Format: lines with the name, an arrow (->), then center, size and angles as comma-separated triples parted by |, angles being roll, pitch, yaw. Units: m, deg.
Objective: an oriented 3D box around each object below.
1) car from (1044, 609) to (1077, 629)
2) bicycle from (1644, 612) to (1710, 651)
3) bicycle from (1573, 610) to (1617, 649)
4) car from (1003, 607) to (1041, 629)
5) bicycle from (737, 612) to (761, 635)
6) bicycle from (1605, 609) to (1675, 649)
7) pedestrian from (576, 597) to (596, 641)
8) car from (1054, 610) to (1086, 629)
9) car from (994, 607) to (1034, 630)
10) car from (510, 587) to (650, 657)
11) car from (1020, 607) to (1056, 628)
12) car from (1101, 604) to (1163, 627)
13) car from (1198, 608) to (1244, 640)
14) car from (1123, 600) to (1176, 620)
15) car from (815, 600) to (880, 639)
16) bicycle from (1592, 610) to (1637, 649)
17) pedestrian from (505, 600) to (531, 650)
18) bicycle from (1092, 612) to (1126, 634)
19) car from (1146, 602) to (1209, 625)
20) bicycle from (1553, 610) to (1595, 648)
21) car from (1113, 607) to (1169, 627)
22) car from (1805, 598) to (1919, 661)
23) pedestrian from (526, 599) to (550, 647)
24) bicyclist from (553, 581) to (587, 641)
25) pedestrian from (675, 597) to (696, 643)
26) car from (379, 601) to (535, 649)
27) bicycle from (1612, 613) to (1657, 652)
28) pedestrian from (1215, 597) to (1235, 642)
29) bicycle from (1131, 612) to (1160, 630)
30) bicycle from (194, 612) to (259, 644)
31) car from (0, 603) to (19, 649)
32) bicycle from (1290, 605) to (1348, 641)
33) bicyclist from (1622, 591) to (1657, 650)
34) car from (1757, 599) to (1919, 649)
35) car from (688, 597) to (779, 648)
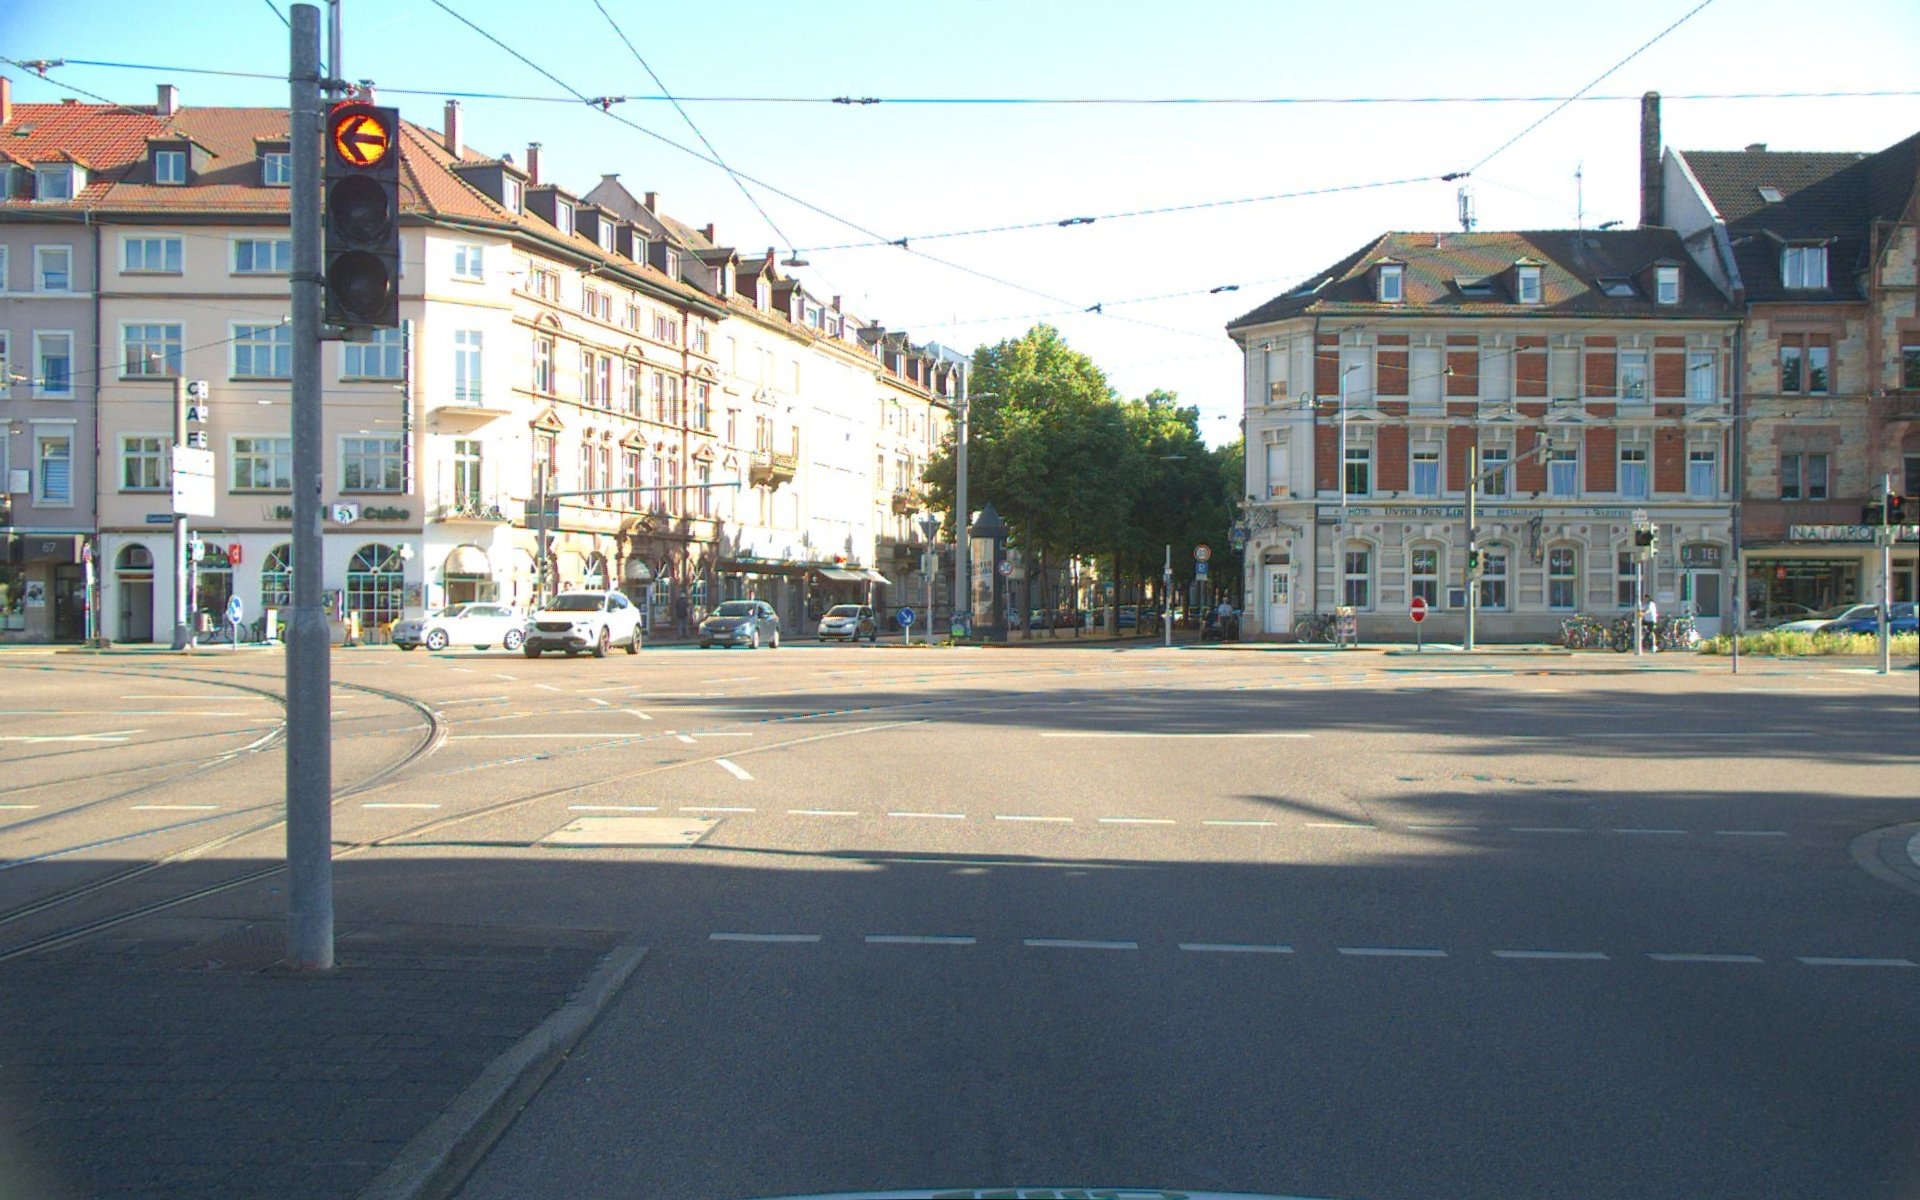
car -> 8.054, 1.493, 131.889 | 1.951, 1.523, 4.037 | 0, 0, 13
bicycle -> 23.038, 1.000, 53.118 | 1.926, 1.211, 0.677 | 0, 0, -13
bicycle -> 20.516, 0.953, 53.485 | 0.663, 1.211, 1.967 | 0, 0, 0
car -> 4.448, 1.259, 117.408 | 1.951, 1.523, 4.037 | 0, 0, 13
bicycle -> -10.136, 1.125, 79.381 | 0.484, 1.086, 1.771 | 0, 0, 15
bicycle -> 21.057, 0.902, 51.237 | 1.920, 1.211, 0.602 | 0, 0, 2
pedestrian -> -14.146, 0.708, 62.557 | 0.539, 1.670, 0.633 | 0, 0, 13
car -> 9.112, 1.607, 136.645 | 1.951, 1.523, 4.037 | 0, 0, 13
car -> 3.701, 1.227, 112.910 | 1.951, 1.523, 4.037 | 0, 0, 13
car -> -8.684, 0.471, 38.183 | 1.951, 1.523, 4.350 | 0, 0, 4
car -> 5.794, 1.307, 122.664 | 1.951, 1.523, 4.037 | 0, 0, 13
car -> 12.030, 1.106, 115.829 | 3.910, 1.572, 1.998 | 0, 0, 28
car -> 13.070, 1.160, 82.596 | 1.951, 1.523, 4.037 | 0, 0, 13
car -> 15.427, 0.792, 134.675 | 3.910, 1.572, 1.998 | 0, 0, 28
car -> -4.586, 0.785, 67.858 | 1.681, 1.523, 3.586 | 0, 0, 13
bicycle -> 21.155, 0.936, 53.496 | 0.663, 1.211, 1.967 | 0, 0, 0
pedestrian -> -14.909, 0.830, 55.816 | 0.661, 1.670, 0.579 | 0, 0, 13
bicycle -> 7.464, 1.157, 82.853 | 0.577, 1.086, 1.924 | 0, 0, -37
car -> 15.354, 0.947, 116.731 | 3.913, 1.572, 1.996 | 0, 0, 30
bicycle -> 19.828, 0.926, 53.449 | 0.663, 1.211, 1.967 | 0, 0, 0
car -> 14.068, 1.319, 128.498 | 3.910, 1.572, 1.998 | 0, 0, 28
car -> 25.910, 0.793, 45.948 | 3.906, 1.697, 1.954 | 0, 0, -2
pedestrian -> -14.531, 0.786, 56.966 | 0.617, 1.670, 0.553 | 0, 0, 13
bicyclist -> -10.480, 0.297, 44.468 | 0.706, 1.587, 0.978 | 0, 0, -26
pedestrian -> -11.683, 0.834, 70.489 | 0.667, 1.942, 0.633 | 0, 0, 15
car -> -15.145, 0.716, 50.003 | 1.960, 1.379, 4.205 | 0, 0, 36
bicycle -> 21.817, 1.027, 53.498 | 0.663, 1.211, 1.967 | 0, 0, 0
pedestrian -> 10.172, 0.742, 63.474 | 0.700, 1.698, 0.940 | 0, 0, 11
bicycle -> 11.161, 1.264, 99.400 | 0.577, 1.086, 1.924 | 0, 0, -37
bicycle -> -24.905, 0.942, 56.176 | 1.906, 1.086, 0.582 | 0, 0, -8
car -> -32.483, 0.824, 52.148 | 4.547, 1.465, 1.743 | 0, -1, -4
bicycle -> 12.454, 0.799, 57.353 | 1.919, 1.211, 0.546 | 0, 0, 4
bicyclist -> 21.043, 0.635, 51.241 | 0.854, 1.795, 0.602 | 0, 0, 2
car -> 25.962, 0.703, 48.944 | 3.906, 1.437, 1.845 | 0, 0, -2
car -> -6.999, 0.671, 51.535 | 1.736, 1.523, 4.576 | 0, 0, 6
